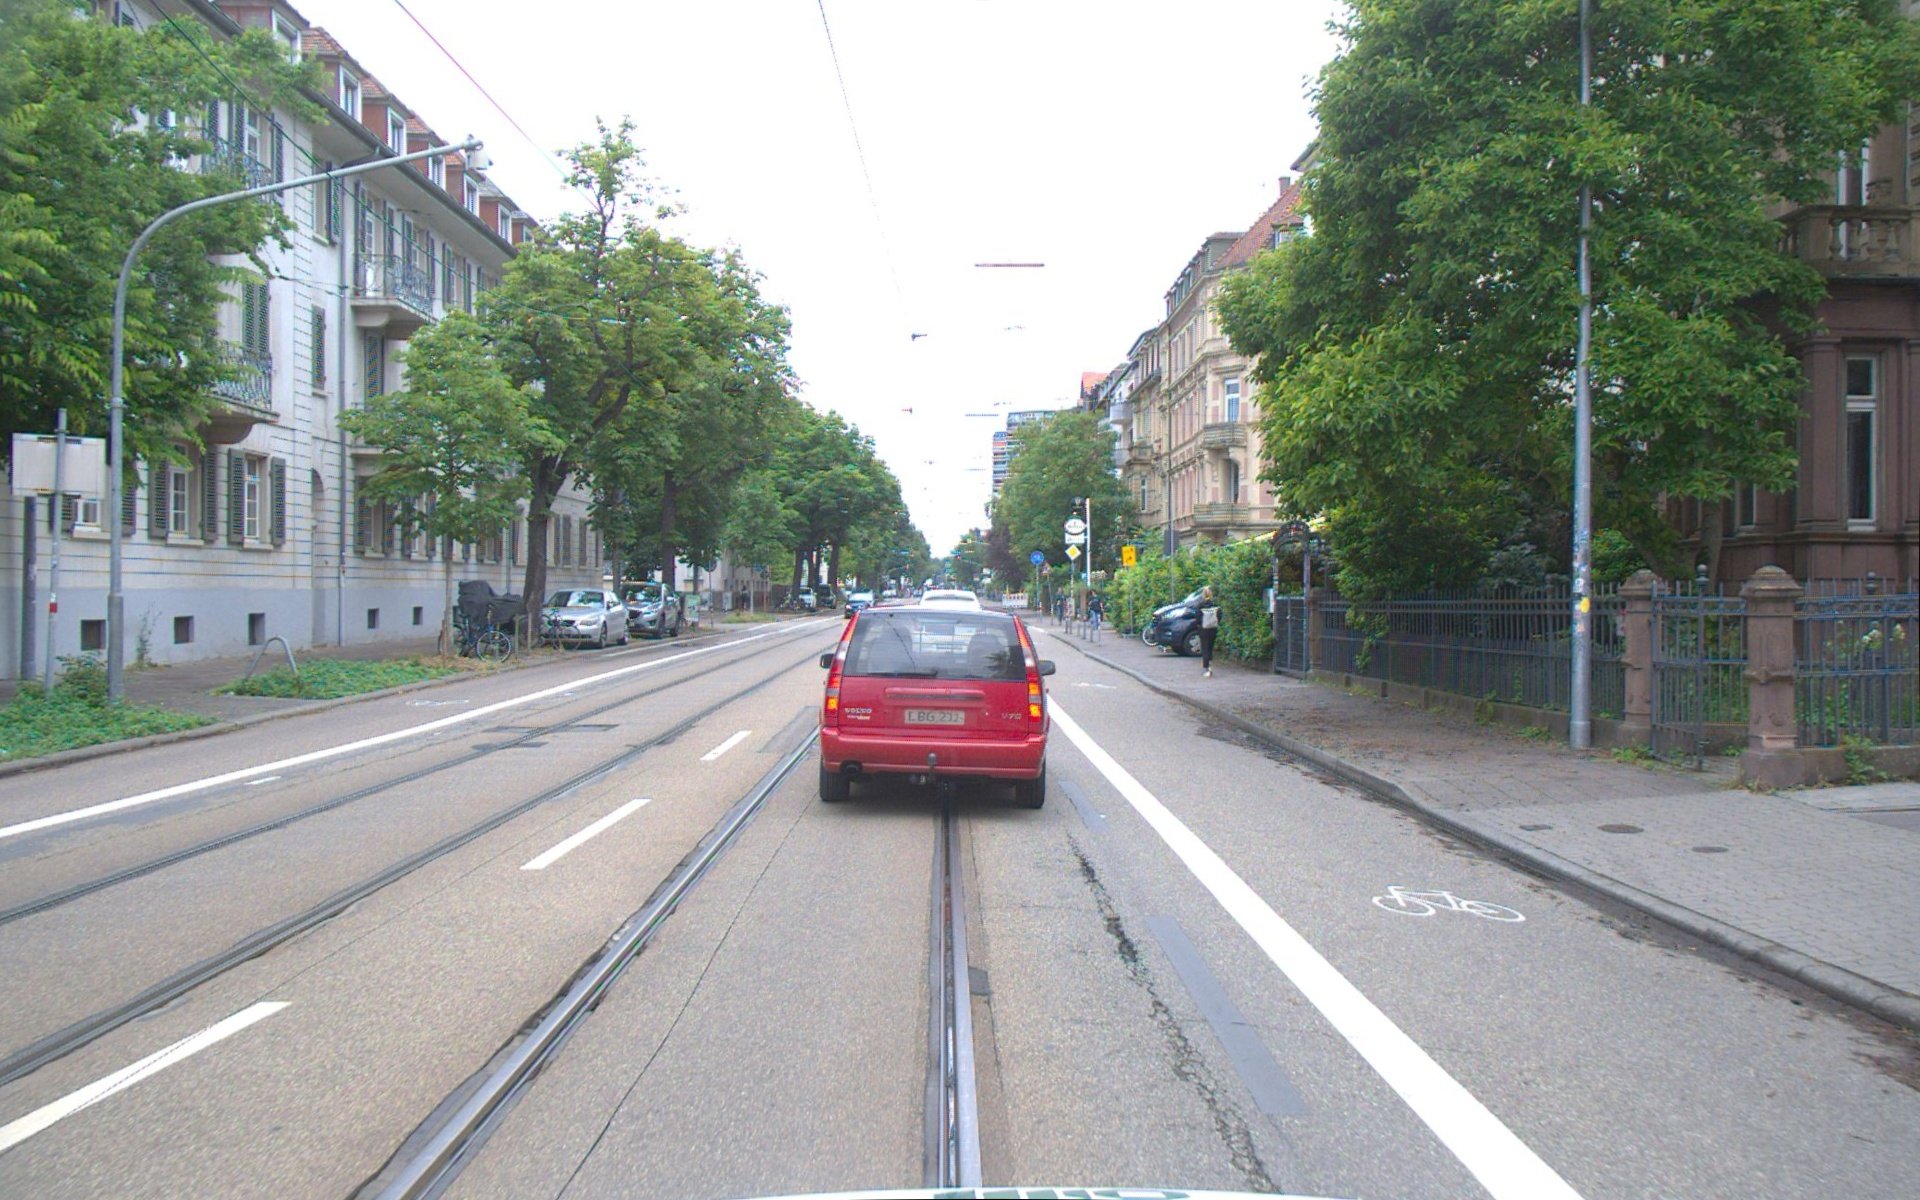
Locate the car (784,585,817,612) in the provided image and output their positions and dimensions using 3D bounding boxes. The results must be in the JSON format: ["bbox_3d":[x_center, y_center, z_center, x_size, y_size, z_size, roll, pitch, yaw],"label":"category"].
[{"bbox_3d":[-10.452,-0.107,108.667,1.859,1.684,4.224,1,0,-2],"label":"car"}]

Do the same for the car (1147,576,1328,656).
[{"bbox_3d":[6.849,0.373,41.135,4.192,1.840,1.824,-1,0,1],"label":"car"}]

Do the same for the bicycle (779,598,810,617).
[{"bbox_3d":[-10.482,0.454,104.843,1.883,1.140,0.624,2,0,-1],"label":"bicycle"}]

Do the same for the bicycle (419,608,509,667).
[{"bbox_3d":[-9.822,0.744,32.732,1.705,1.148,0.518,-1,0,17],"label":"bicycle"}]

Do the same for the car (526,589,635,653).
[{"bbox_3d":[-9.535,0.486,41.882,1.775,1.491,4.613,1,0,-1],"label":"car"}]

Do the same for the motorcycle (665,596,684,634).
[{"bbox_3d":[-9.993,0.510,57.912,0.529,1.279,2.139,0,0,-7],"label":"motorcycle"}]

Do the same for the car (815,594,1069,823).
[{"bbox_3d":[-0.117,0.714,12.816,1.654,1.466,3.743,1,0,0],"label":"car"}]

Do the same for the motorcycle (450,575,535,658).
[{"bbox_3d":[-9.825,0.330,34.842,0.815,1.672,2.482,0,0,7],"label":"motorcycle"}]

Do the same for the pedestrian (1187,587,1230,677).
[{"bbox_3d":[4.856,0.608,32.365,0.611,1.700,0.959,-3,0,-2],"label":"pedestrian"}]

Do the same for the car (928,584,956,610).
[{"bbox_3d":[-1.225,-0.193,109.042,1.706,1.634,3.998,0,0,-3],"label":"car"}]

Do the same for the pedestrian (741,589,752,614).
[{"bbox_3d":[-13.030,0.088,101.008,0.553,1.493,0.722,0,0,-1],"label":"pedestrian"}]

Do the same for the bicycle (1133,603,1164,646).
[{"bbox_3d":[5.395,0.695,47.453,0.620,1.147,1.812,-2,1,-1],"label":"bicycle"}]

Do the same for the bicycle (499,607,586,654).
[{"bbox_3d":[-9.674,0.705,38.393,1.857,1.045,0.563,1,0,-5],"label":"bicycle"}]

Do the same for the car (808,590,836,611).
[{"bbox_3d":[-10.635,0.011,127.414,1.741,1.537,4.237,1,0,0],"label":"car"}]

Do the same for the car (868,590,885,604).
[{"bbox_3d":[-9.800,-0.368,194.968,1.813,1.590,3.942,0,0,-1],"label":"car"}]

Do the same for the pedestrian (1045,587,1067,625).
[{"bbox_3d":[4.245,0.251,73.077,0.854,1.685,0.909,0,0,12],"label":"pedestrian"}]

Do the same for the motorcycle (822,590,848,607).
[{"bbox_3d":[-11.342,-0.136,149.679,2.225,1.538,0.924,0,-2,35],"label":"motorcycle"}]

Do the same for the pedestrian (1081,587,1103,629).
[{"bbox_3d":[5.267,0.312,65.985,0.777,1.665,0.836,-1,0,-1],"label":"pedestrian"}]

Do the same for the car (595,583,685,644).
[{"bbox_3d":[-9.638,0.376,50.163,1.800,1.690,4.293,2,0,0],"label":"car"}]

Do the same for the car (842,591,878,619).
[{"bbox_3d":[-5.249,0.228,87.247,1.694,1.433,3.655,0,0,-1],"label":"car"}]

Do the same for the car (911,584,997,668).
[{"bbox_3d":[-0.079,0.506,34.761,1.683,1.653,3.941,0,0,1],"label":"car"}]

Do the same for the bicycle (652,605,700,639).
[{"bbox_3d":[-9.351,0.718,54.513,1.347,1.022,0.930,3,0,3],"label":"bicycle"}]
